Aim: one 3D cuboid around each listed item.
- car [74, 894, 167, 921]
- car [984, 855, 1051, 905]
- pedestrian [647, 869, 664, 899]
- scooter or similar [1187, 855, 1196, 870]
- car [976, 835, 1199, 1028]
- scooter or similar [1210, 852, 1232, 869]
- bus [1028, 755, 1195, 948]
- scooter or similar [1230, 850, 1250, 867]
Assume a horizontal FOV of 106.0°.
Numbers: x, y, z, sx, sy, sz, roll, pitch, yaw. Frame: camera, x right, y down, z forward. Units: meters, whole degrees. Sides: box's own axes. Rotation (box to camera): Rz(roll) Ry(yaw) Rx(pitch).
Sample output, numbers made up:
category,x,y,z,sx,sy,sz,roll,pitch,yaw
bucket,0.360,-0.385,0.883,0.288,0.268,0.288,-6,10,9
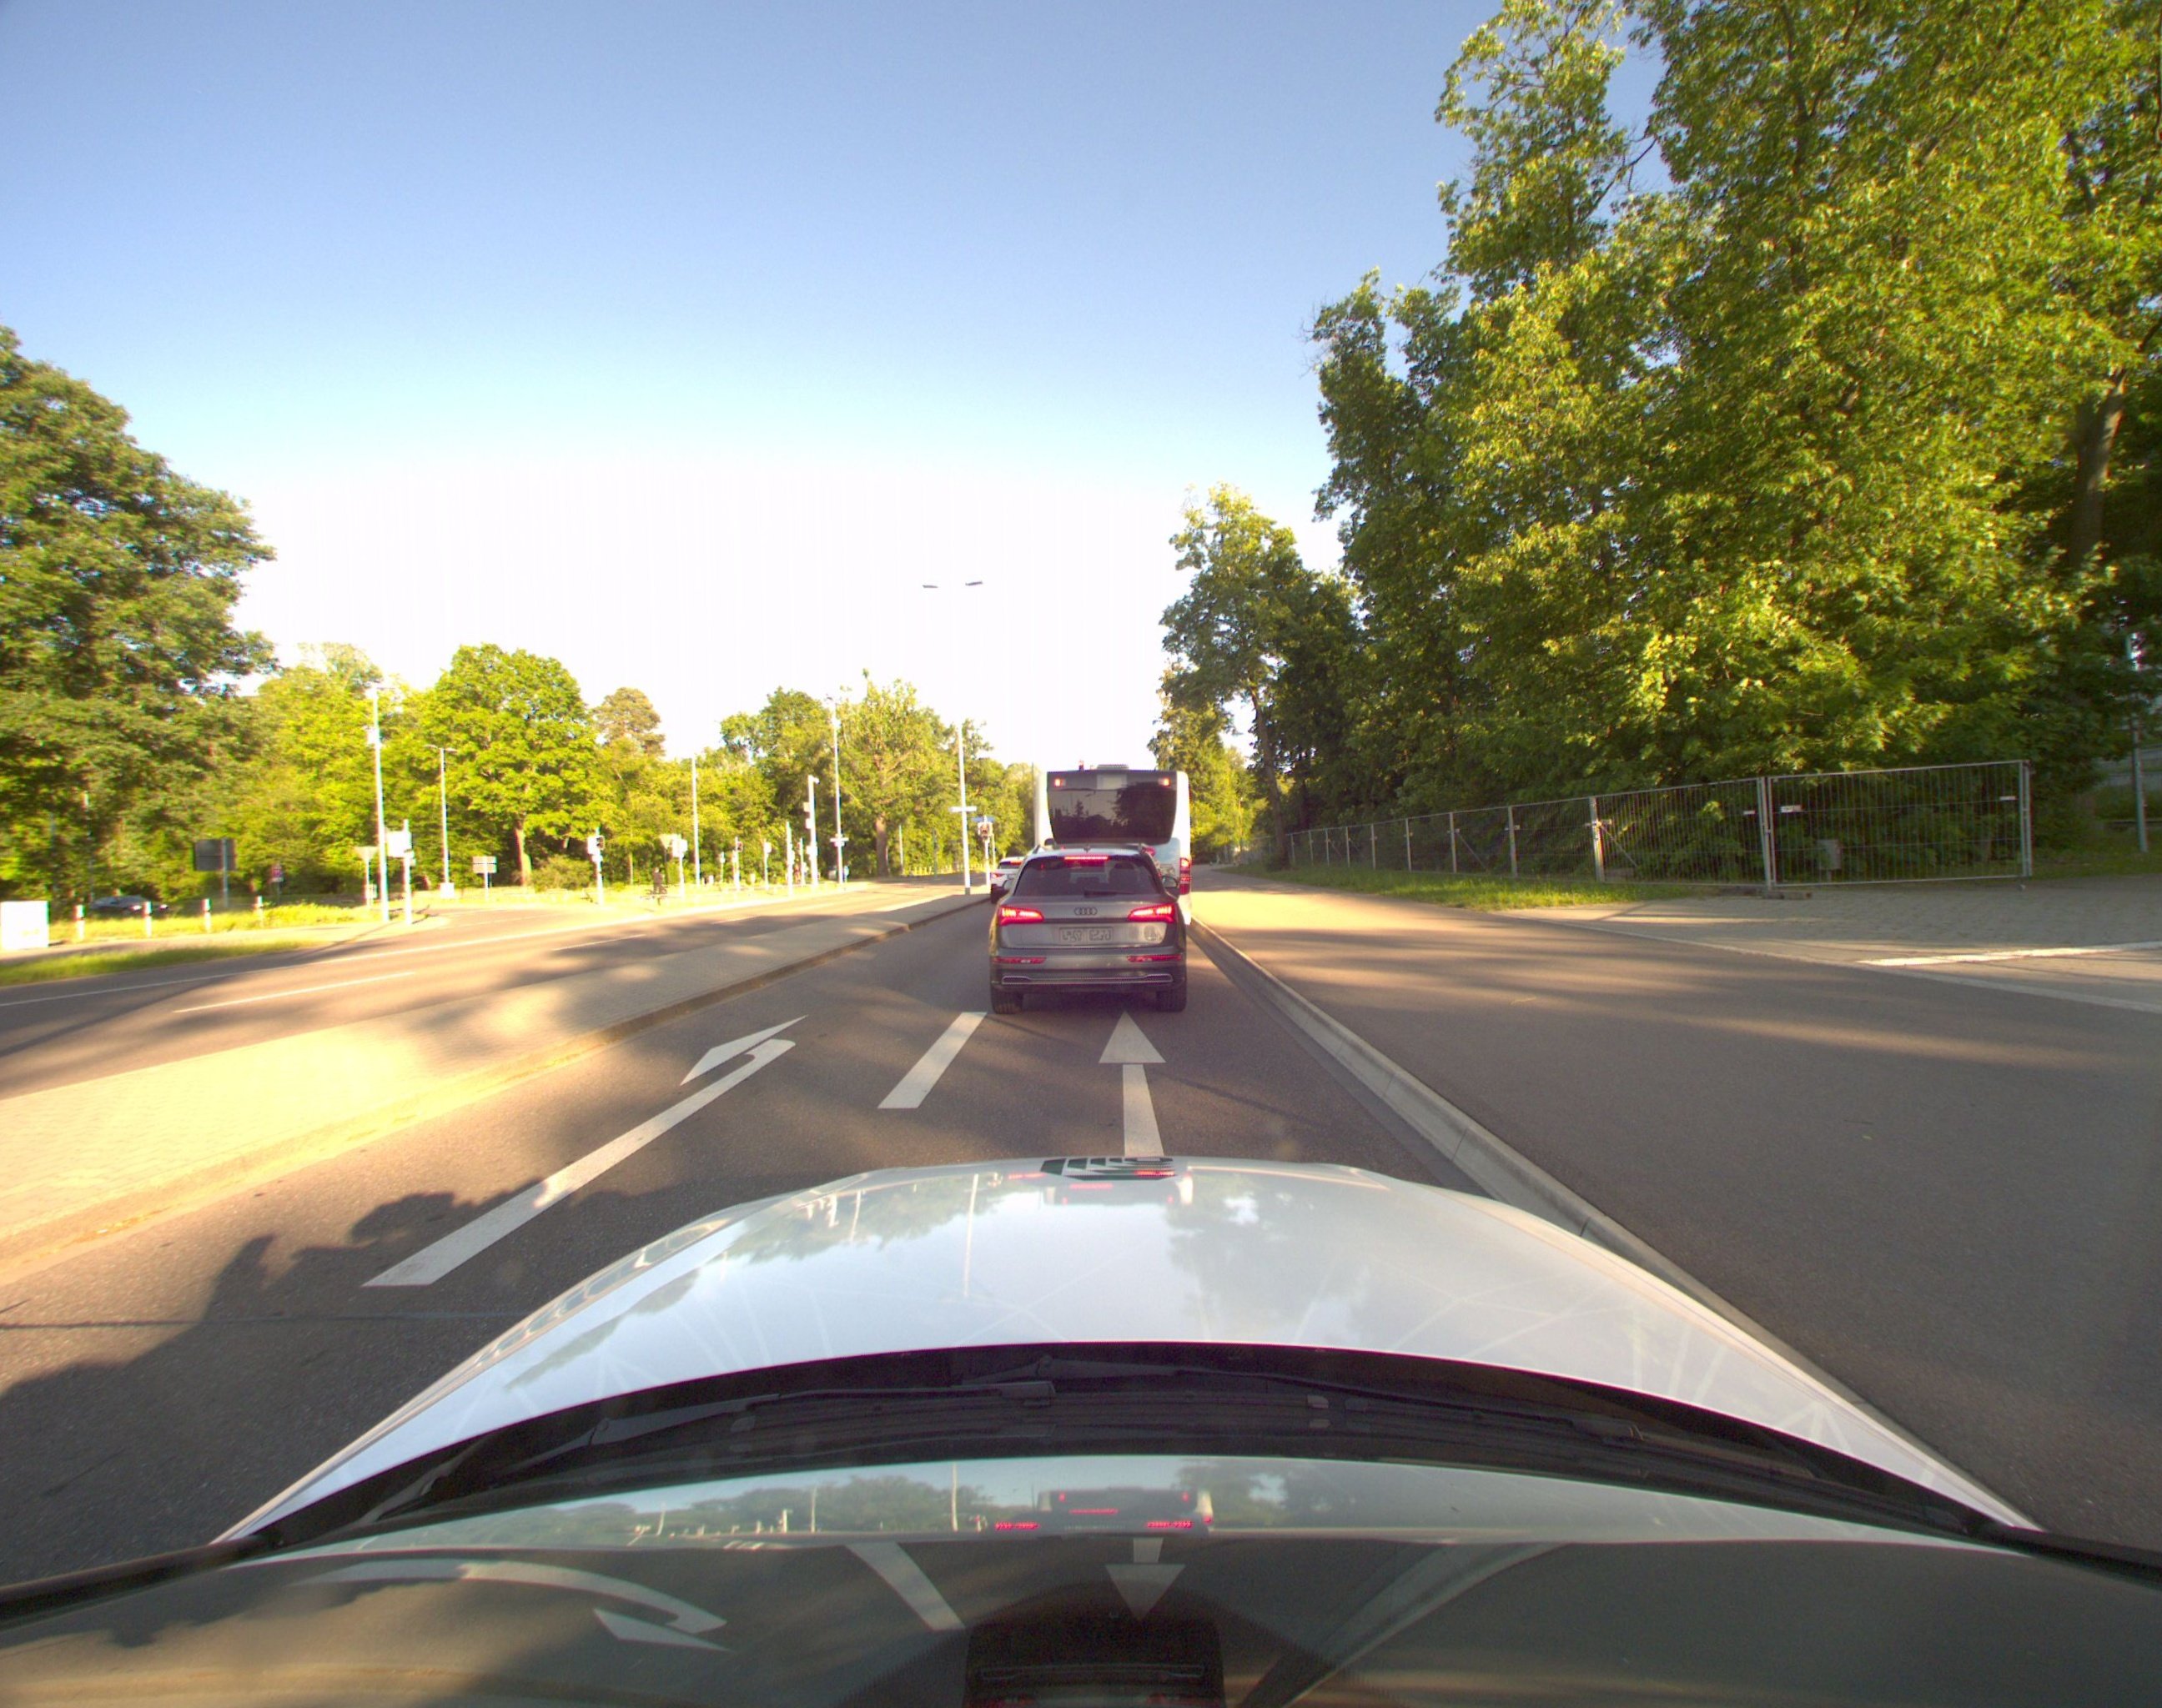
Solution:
category,x,y,z,sx,sy,sz,roll,pitch,yaw
car,-60.176,3.334,51.065,4.081,1.387,1.755,-3,0,6
car,-2.110,0.844,28.204,1.829,1.518,4.002,-2,0,2
pedestrian,-22.688,1.608,43.435,0.652,1.560,0.533,-2,-1,-41
scooter or similar,11.007,0.885,81.096,0.507,1.444,2.020,-3,0,-3
car,0.119,0.671,8.991,1.891,1.632,4.002,-1,0,2
scooter or similar,13.433,0.629,78.350,2.025,1.444,0.601,-3,0,-23
bus,0.630,0.014,17.489,2.585,2.989,9.330,-1,-1,2
scooter or similar,15.542,0.425,79.596,0.543,1.567,1.999,-3,0,-37
